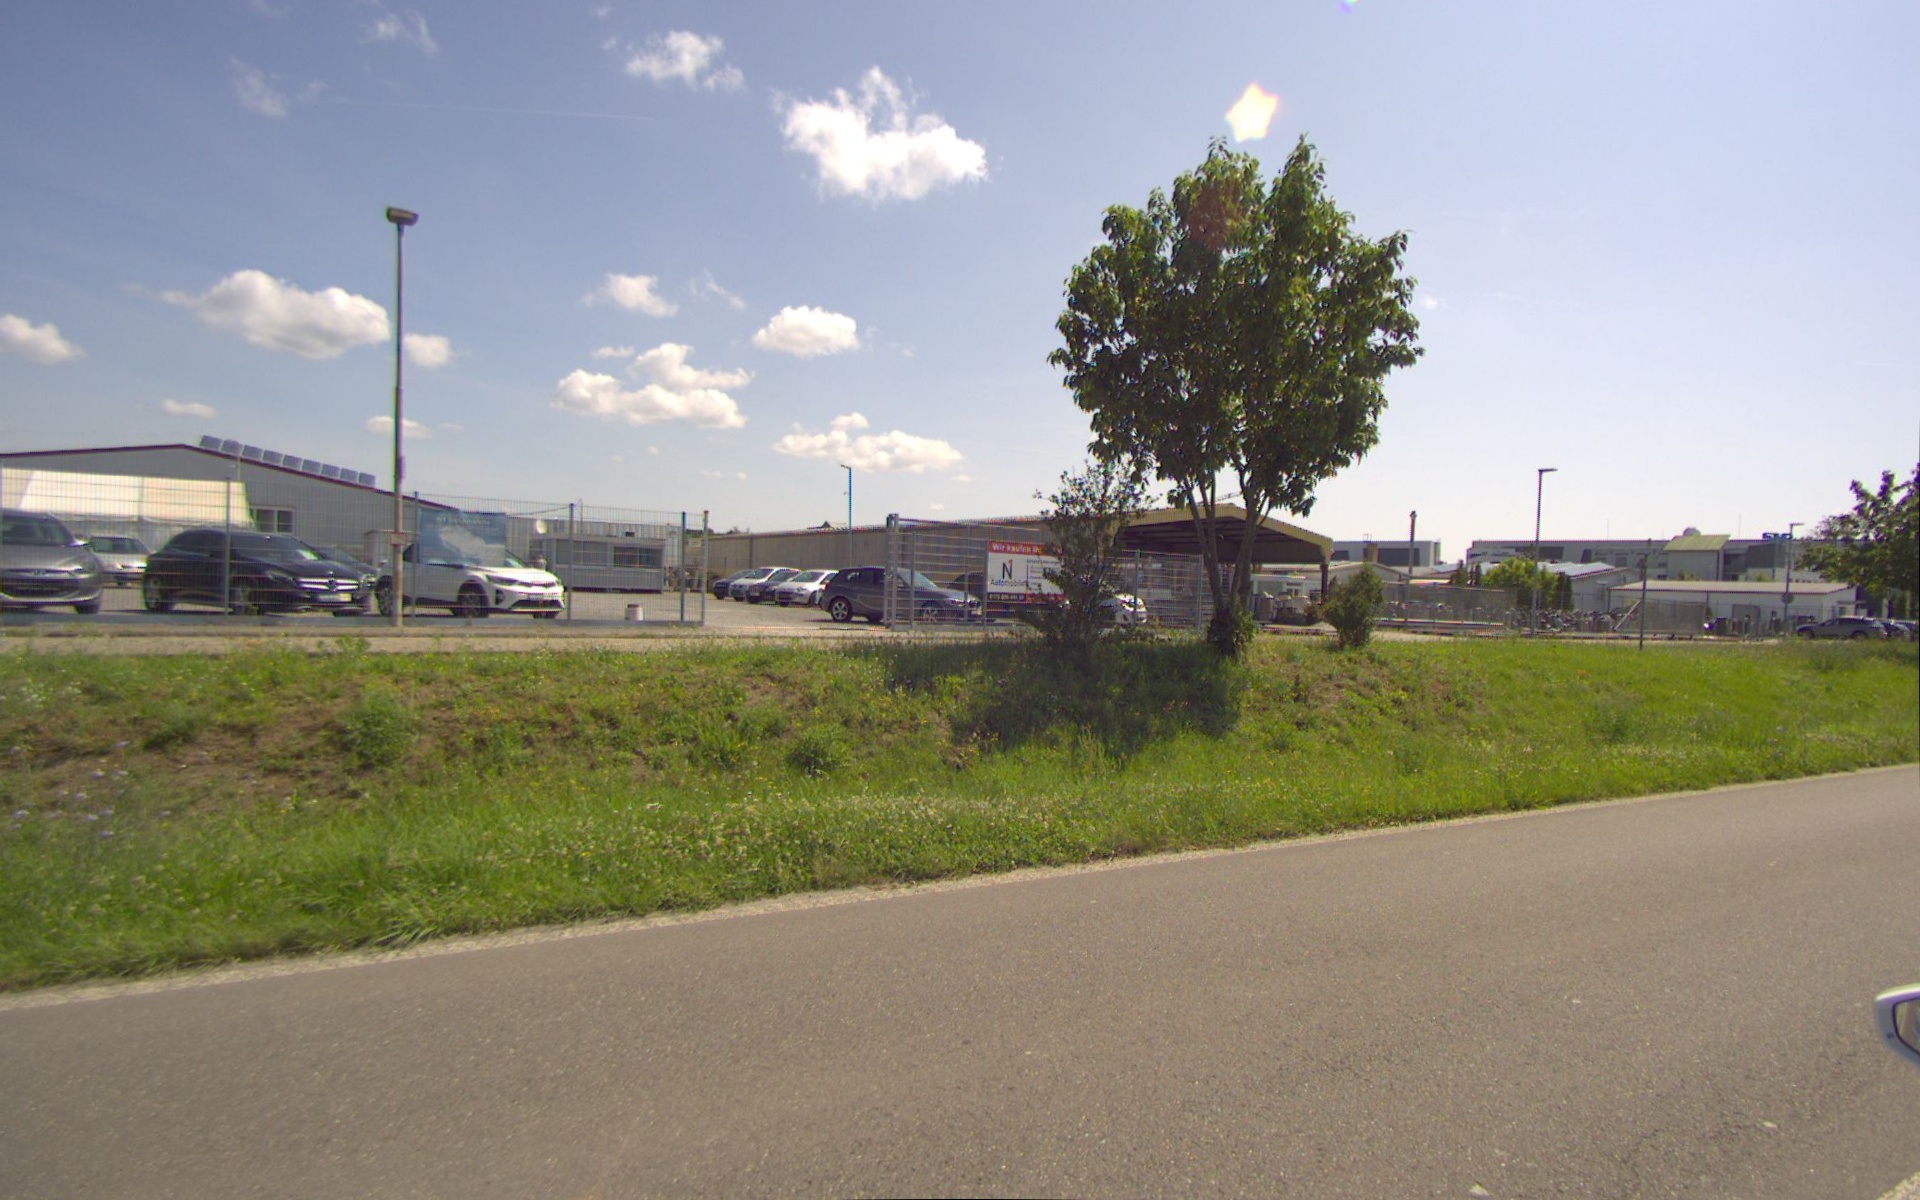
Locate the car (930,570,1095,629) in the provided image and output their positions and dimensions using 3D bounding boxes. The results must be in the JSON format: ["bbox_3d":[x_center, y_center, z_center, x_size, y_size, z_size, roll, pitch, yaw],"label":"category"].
[{"bbox_3d":[1.406,-0.036,26.856,3.927,1.328,1.940,3,2,28],"label":"car"}]

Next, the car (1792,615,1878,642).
[{"bbox_3d":[58.756,1.924,67.525,1.980,1.548,3.961,1,1,-35],"label":"car"}]

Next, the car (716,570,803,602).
[{"bbox_3d":[-9.122,-0.606,45.986,1.810,1.328,3.994,3,1,28],"label":"car"}]

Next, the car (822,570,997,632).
[{"bbox_3d":[-1.288,0.000,25.226,3.927,1.328,1.940,3,2,28],"label":"car"}]

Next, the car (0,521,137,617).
[{"bbox_3d":[-14.762,-0.521,15.417,3.927,1.328,1.940,3,2,28],"label":"car"}]

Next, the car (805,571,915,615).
[{"bbox_3d":[-3.656,-0.255,37.473,1.964,1.506,4.240,3,1,29],"label":"car"}]

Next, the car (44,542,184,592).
[{"bbox_3d":[-25.721,-0.997,30.538,3.927,1.328,1.940,3,2,28],"label":"car"}]

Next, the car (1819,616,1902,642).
[{"bbox_3d":[62.491,2.004,69.764,1.649,1.576,3.961,1,1,-35],"label":"car"}]

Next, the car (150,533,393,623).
[{"bbox_3d":[-11.875,-0.409,17.288,3.928,1.328,1.939,3,2,30],"label":"car"}]

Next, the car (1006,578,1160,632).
[{"bbox_3d":[3.542,0.124,28.988,3.927,1.328,1.940,3,1,28],"label":"car"}]

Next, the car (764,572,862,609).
[{"bbox_3d":[-5.726,-0.365,39.636,1.810,1.328,3.994,3,1,28],"label":"car"}]

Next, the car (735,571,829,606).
[{"bbox_3d":[-7.454,-0.460,42.307,1.810,1.328,3.994,3,1,28],"label":"car"}]

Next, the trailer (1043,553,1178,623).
[{"bbox_3d":[6.511,-0.573,44.054,2.715,2.863,5.522,1,1,-36],"label":"trailer"}]

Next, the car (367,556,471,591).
[{"bbox_3d":[-25.086,-1.228,46.619,3.966,1.461,1.861,1,1,-39],"label":"car"}]

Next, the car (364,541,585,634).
[{"bbox_3d":[-9.496,-0.275,19.636,3.927,1.561,1.940,3,2,28],"label":"car"}]

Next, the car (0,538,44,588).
[{"bbox_3d":[-27.555,-1.081,27.903,3.927,1.328,1.940,3,2,28],"label":"car"}]
